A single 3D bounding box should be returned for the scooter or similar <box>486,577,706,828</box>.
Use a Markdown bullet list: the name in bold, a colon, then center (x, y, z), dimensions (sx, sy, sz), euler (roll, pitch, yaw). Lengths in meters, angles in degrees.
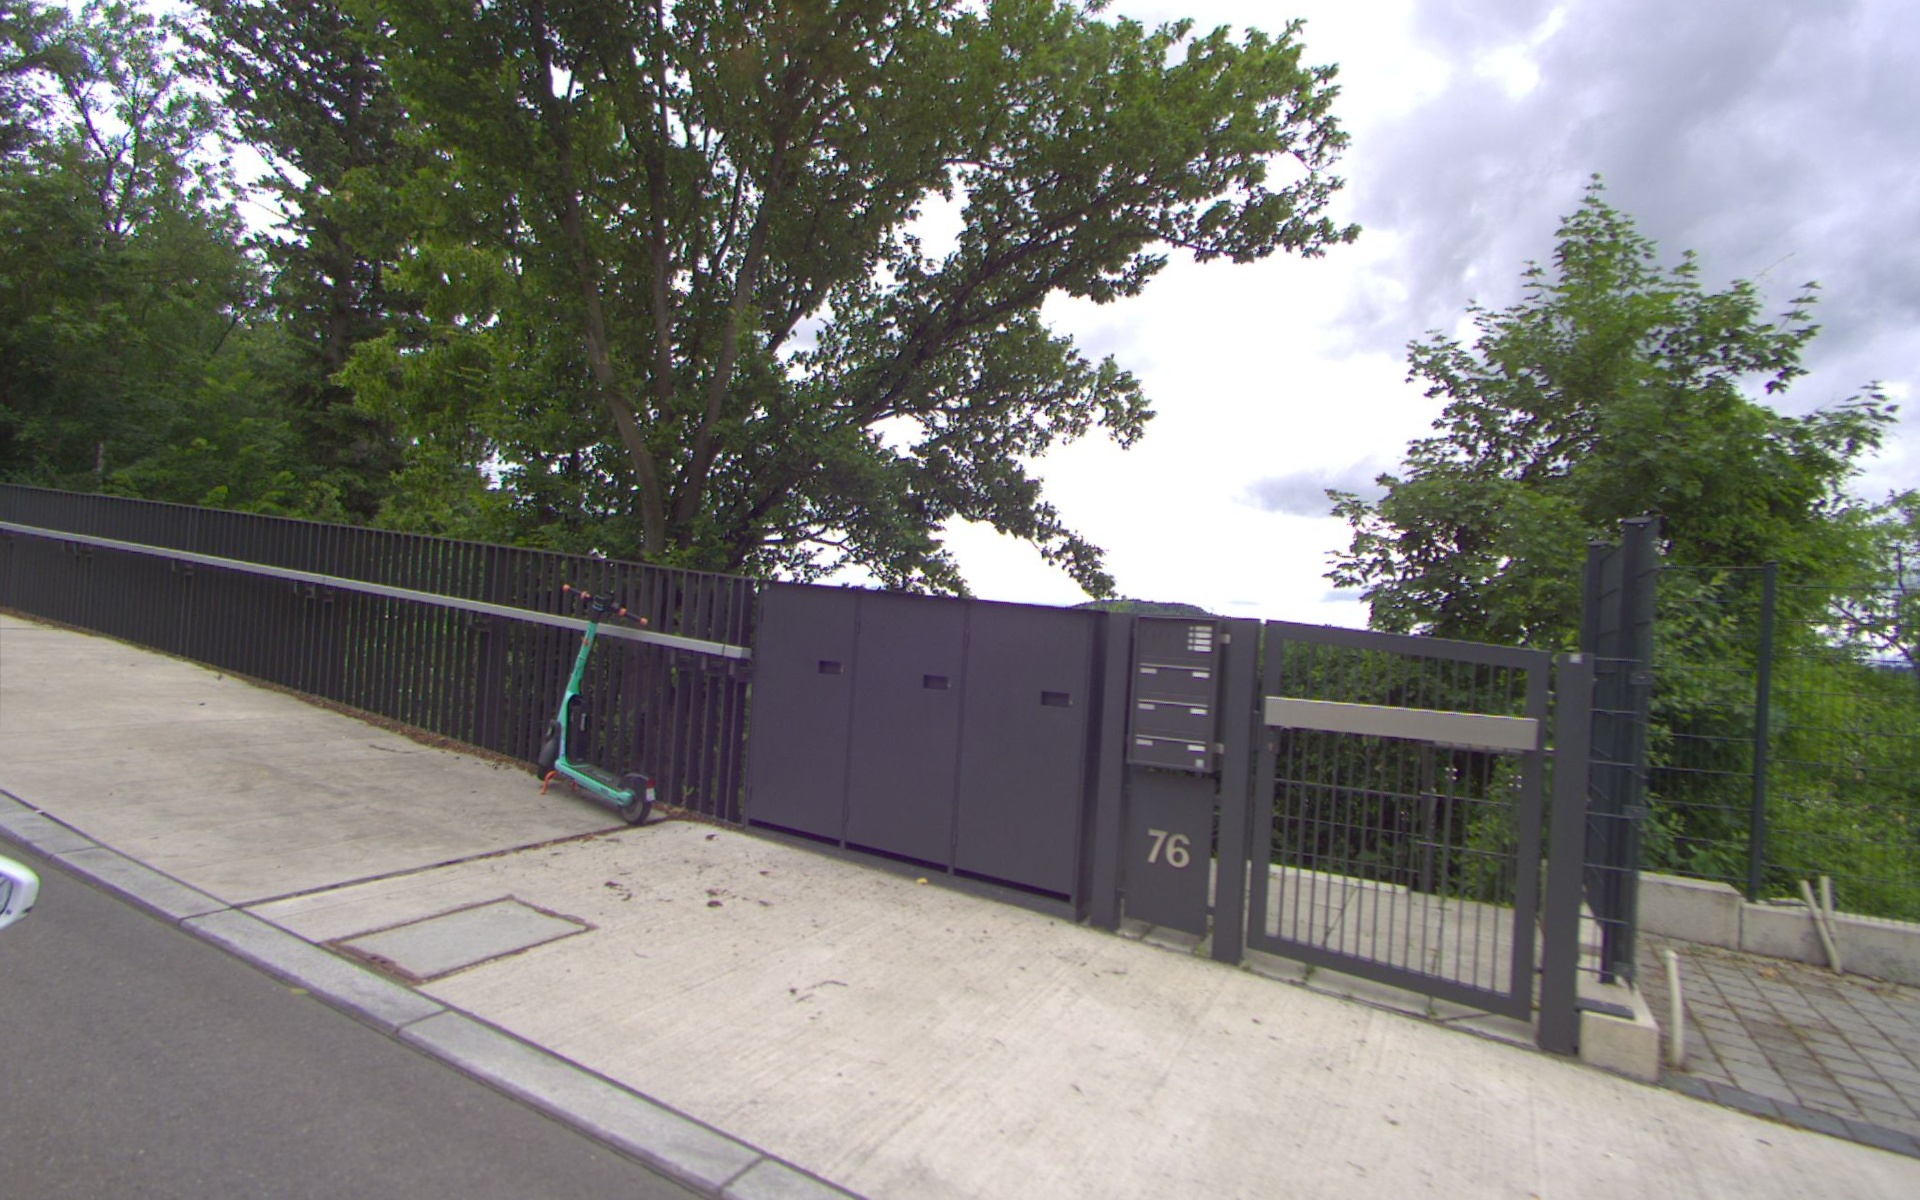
- **scooter or similar**: center (-2.166, 0.556, 5.943), dimensions (1.187, 1.242, 0.534), euler (8, 3, 35)
